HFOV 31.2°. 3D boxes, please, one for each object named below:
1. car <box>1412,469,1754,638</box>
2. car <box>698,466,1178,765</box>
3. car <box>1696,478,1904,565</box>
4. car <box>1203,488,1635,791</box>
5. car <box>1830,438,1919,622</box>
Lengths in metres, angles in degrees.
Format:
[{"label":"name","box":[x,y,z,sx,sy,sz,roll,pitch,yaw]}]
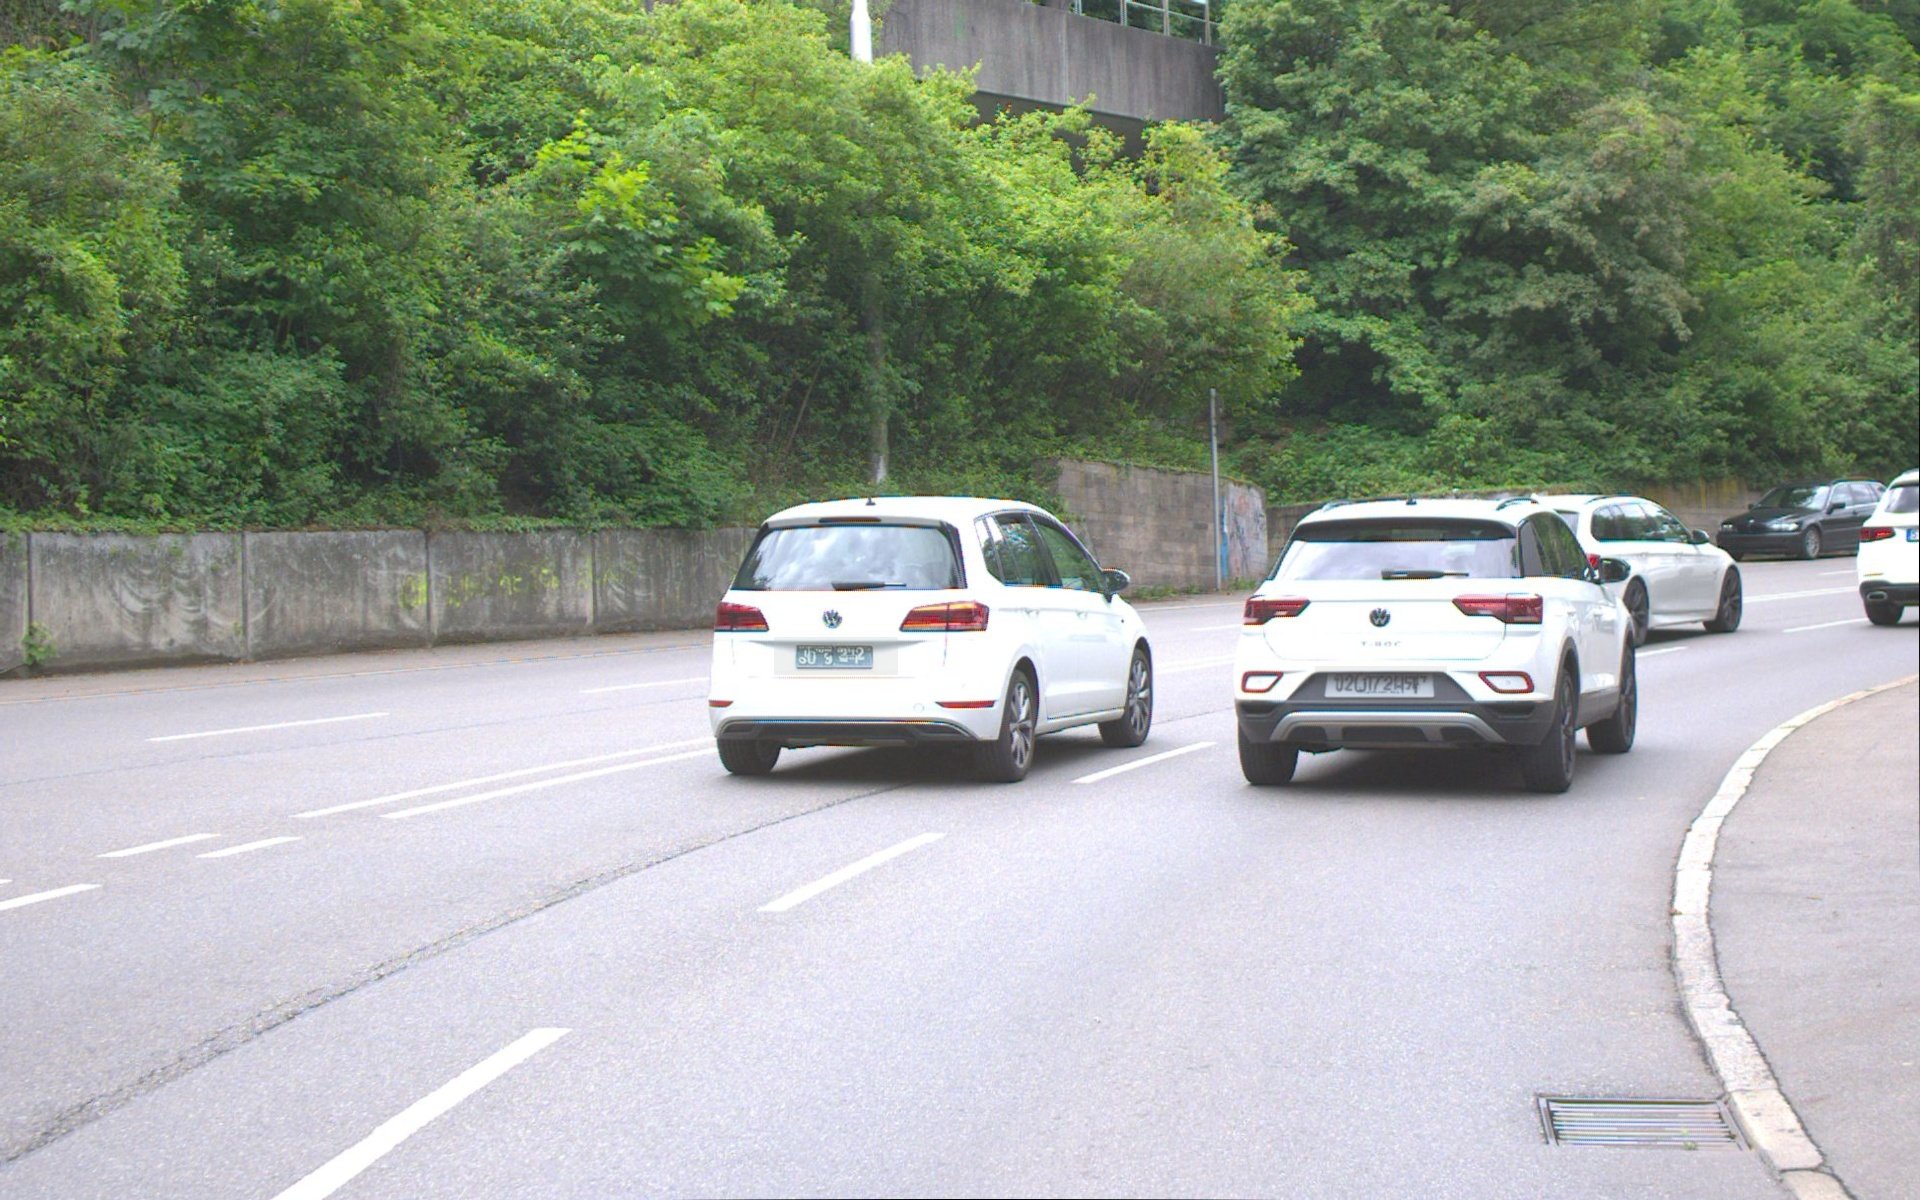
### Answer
[{"label":"car","box":[6.269,-0.469,34.149,1.997,1.552,4.674,1,1,28]},{"label":"car","box":[-0.002,0.140,20.442,1.721,1.549,4.272,2,-1,15]},{"label":"car","box":[14.809,-1.391,60.480,1.913,1.481,3.990,0,2,41]},{"label":"car","box":[2.724,0.224,19.637,1.815,1.534,4.005,0,-1,17]},{"label":"car","box":[10.879,-0.678,36.356,1.997,1.837,4.142,1,-1,33]}]
